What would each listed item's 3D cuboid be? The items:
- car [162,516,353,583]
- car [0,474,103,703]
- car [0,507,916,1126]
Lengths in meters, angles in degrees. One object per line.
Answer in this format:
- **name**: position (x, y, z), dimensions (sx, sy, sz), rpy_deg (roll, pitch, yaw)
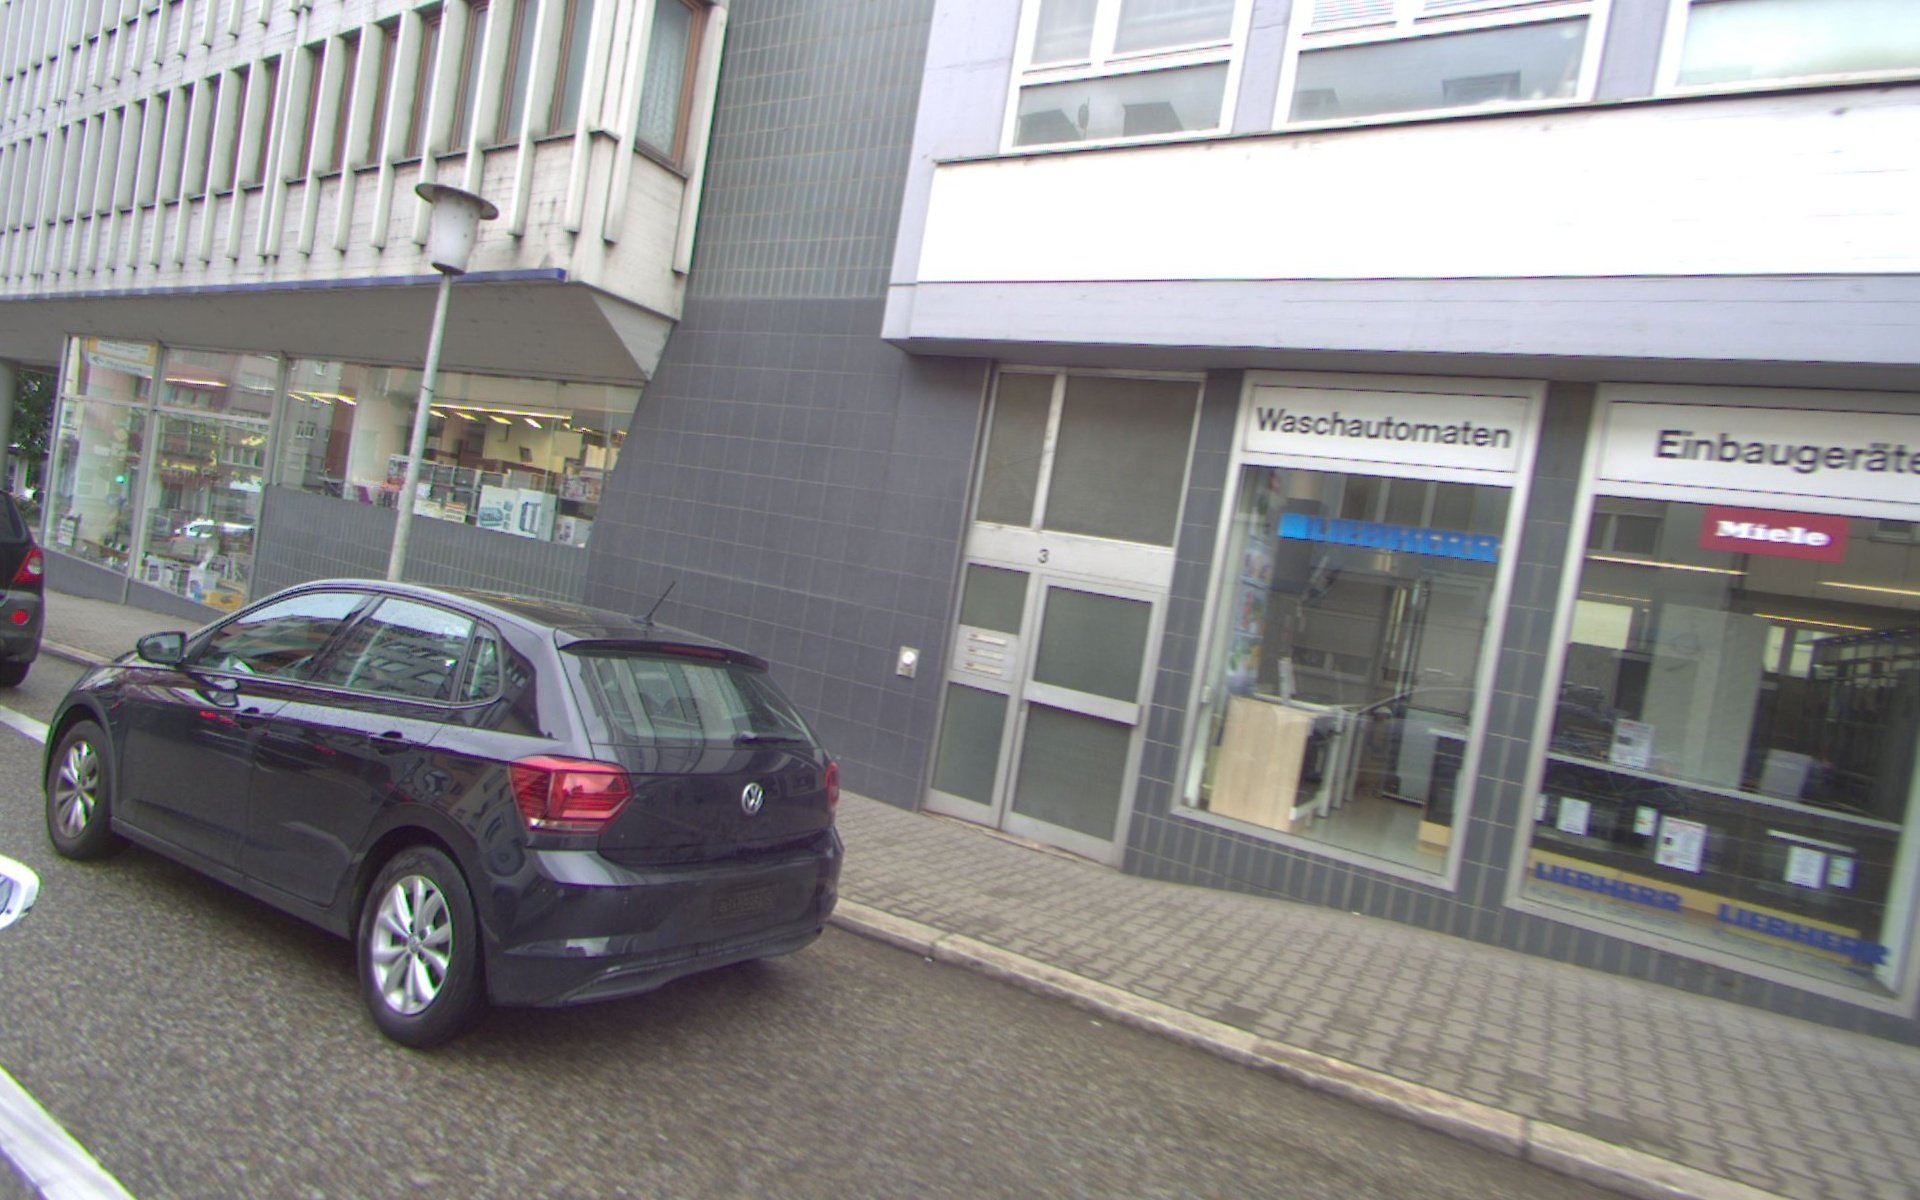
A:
- **car**: position (-23.397, -1.639, 33.714), dimensions (4.780, 1.512, 1.850), rpy_deg (8, 0, -17)
- **car**: position (-9.399, -0.368, 8.418), dimensions (4.430, 1.713, 1.903), rpy_deg (7, -3, 31)
- **car**: position (-2.388, 0.607, 4.502), dimensions (3.932, 1.493, 1.694), rpy_deg (7, -3, 30)
